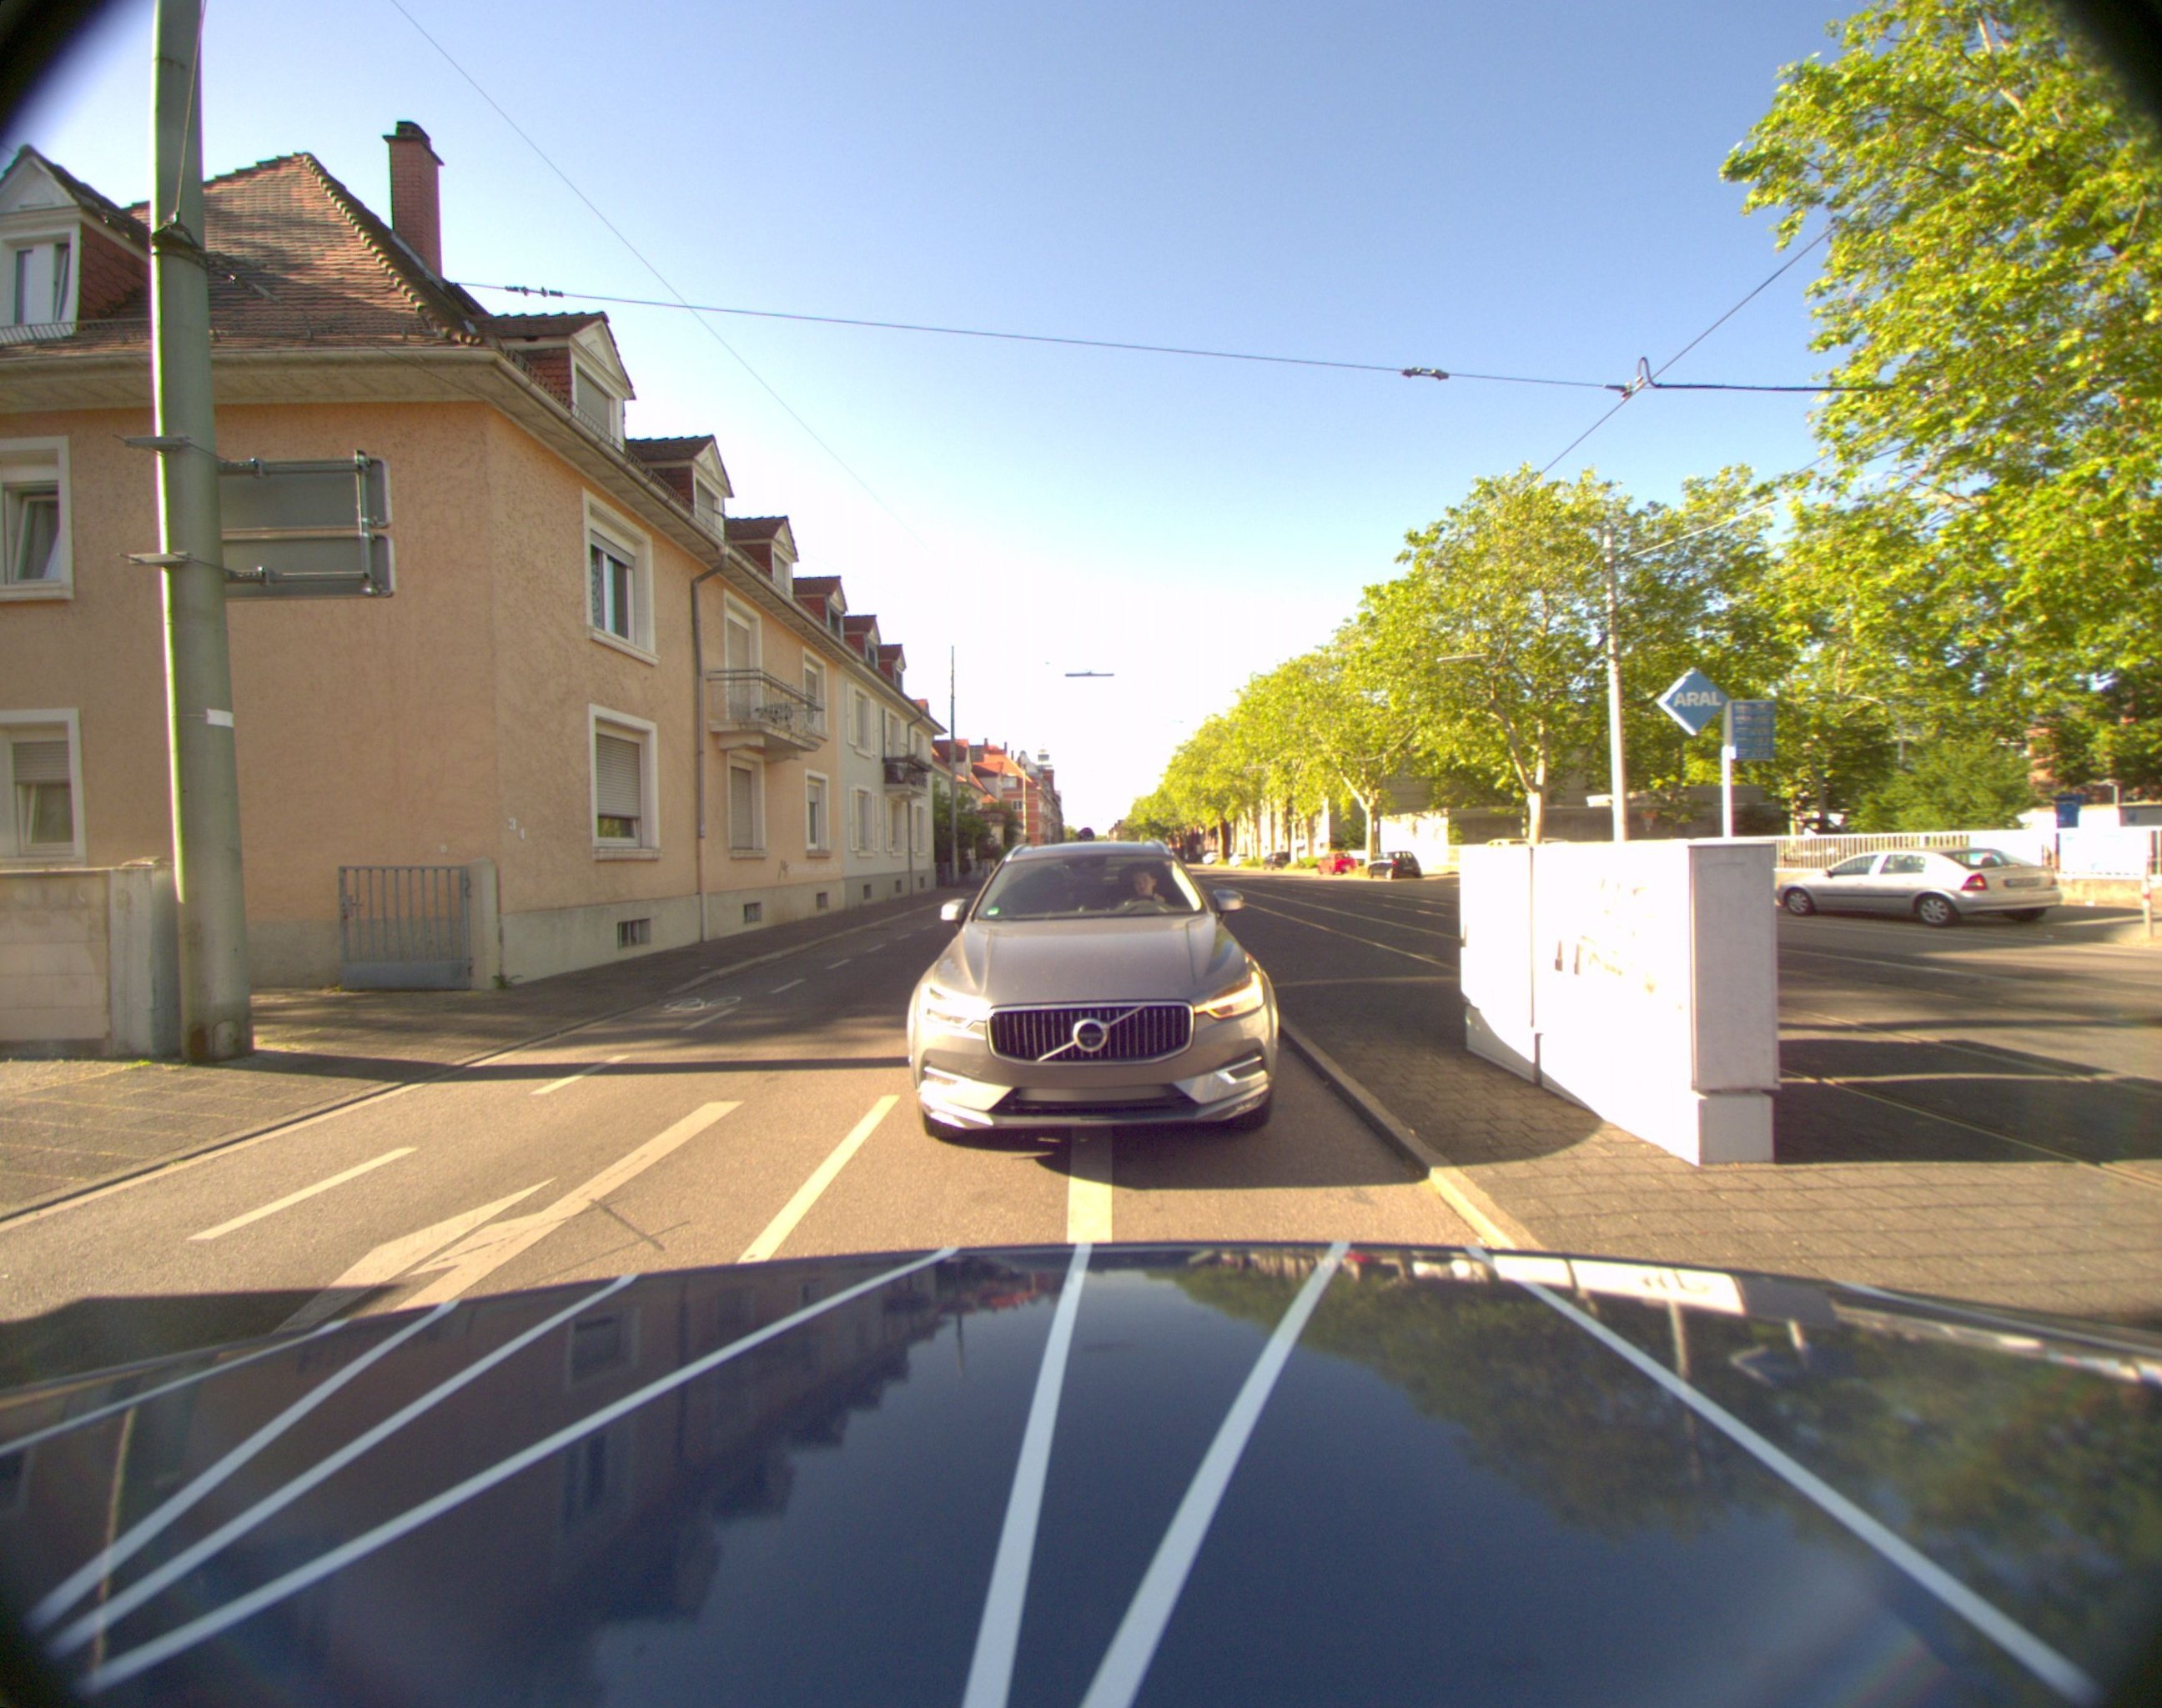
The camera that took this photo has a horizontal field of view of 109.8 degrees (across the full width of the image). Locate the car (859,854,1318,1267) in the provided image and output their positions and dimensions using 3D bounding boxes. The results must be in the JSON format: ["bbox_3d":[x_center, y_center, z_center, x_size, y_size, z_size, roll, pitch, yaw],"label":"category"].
[{"bbox_3d":[0.039,0.891,5.650,1.912,1.666,4.763,-2,1,0],"label":"car"}]

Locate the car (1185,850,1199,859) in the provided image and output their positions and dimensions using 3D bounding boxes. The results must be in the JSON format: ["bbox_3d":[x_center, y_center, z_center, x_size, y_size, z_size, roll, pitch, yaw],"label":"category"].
[{"bbox_3d":[18.330,0.037,125.557,1.700,1.401,3.999,-1,1,1],"label":"car"}]

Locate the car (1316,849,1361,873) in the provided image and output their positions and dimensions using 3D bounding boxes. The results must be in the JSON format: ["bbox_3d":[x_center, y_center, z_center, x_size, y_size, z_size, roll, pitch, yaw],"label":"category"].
[{"bbox_3d":[16.991,0.408,50.342,1.700,1.460,3.999,-1,1,1],"label":"car"}]

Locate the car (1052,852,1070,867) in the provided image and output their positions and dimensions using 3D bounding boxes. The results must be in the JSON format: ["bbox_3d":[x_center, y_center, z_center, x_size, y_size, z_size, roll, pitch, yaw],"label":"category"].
[{"bbox_3d":[-2.184,0.594,85.432,1.841,1.449,3.999,-2,1,1],"label":"car"}]

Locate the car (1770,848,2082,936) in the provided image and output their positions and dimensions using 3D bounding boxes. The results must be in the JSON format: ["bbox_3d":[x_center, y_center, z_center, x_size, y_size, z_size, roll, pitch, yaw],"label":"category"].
[{"bbox_3d":[16.249,0.638,14.977,1.731,1.412,3.999,-2,1,1],"label":"car"}]

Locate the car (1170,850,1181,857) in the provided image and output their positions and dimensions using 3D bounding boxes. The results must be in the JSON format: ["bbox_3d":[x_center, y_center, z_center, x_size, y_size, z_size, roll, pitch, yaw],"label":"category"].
[{"bbox_3d":[18.587,-0.060,149.612,1.700,1.401,3.999,-1,1,1],"label":"car"}]

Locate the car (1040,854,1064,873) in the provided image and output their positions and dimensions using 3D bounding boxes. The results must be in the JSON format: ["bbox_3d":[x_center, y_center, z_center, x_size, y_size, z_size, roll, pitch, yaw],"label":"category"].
[{"bbox_3d":[-2.532,0.812,66.995,1.841,1.449,3.999,-2,1,1],"label":"car"}]

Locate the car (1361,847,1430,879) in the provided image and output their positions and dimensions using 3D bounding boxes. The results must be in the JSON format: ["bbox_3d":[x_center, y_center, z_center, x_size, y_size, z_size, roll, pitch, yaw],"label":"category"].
[{"bbox_3d":[16.973,0.446,41.249,1.753,1.514,4.434,-5,1,-1],"label":"car"}]

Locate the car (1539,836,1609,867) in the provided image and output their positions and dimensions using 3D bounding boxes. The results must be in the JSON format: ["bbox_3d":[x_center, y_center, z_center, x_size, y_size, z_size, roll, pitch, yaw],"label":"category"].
[{"bbox_3d":[24.265,-0.140,37.535,1.545,1.412,3.151,-2,1,4],"label":"car"}]

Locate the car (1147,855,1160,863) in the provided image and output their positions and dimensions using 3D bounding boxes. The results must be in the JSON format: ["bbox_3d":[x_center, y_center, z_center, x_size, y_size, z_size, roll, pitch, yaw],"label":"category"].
[{"bbox_3d":[13.326,0.889,139.580,1.912,1.514,4.763,0,1,0],"label":"car"}]

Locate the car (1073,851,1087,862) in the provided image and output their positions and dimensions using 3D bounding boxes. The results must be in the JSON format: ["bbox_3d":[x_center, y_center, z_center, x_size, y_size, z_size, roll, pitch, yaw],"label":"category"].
[{"bbox_3d":[-0.161,0.283,106.485,1.841,1.449,3.999,-2,1,1],"label":"car"}]

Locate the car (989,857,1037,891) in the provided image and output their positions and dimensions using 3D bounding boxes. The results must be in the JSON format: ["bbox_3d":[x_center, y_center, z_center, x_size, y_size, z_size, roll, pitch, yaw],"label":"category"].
[{"bbox_3d":[-3.242,0.933,36.946,1.841,1.449,3.999,-2,1,1],"label":"car"}]

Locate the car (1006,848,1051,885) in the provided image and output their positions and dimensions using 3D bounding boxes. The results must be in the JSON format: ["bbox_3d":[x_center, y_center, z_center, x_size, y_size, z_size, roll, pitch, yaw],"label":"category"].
[{"bbox_3d":[-2.911,0.640,43.774,1.937,1.888,7.210,-2,1,1],"label":"car"}]

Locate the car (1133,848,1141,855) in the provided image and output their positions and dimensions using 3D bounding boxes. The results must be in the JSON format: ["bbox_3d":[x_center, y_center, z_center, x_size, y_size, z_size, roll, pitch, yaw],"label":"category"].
[{"bbox_3d":[14.976,-0.587,203.970,1.850,1.835,4.394,-1,1,-1],"label":"car"}]

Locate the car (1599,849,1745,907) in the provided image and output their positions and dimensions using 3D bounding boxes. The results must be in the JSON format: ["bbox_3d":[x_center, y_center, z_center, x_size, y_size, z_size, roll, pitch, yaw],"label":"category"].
[{"bbox_3d":[16.360,0.614,21.222,1.546,1.412,3.254,-2,1,1],"label":"car"}]

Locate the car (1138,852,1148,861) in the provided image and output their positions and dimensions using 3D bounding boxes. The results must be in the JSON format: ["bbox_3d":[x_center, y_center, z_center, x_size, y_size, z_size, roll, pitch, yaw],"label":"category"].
[{"bbox_3d":[13.425,0.498,164.205,1.700,1.412,3.999,13,1,1],"label":"car"}]

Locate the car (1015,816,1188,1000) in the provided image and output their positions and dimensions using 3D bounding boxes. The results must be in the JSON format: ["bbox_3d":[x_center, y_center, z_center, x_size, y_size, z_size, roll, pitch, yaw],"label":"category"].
[{"bbox_3d":[0.238,0.601,11.119,1.912,2.048,4.763,-2,1,0],"label":"car"}]

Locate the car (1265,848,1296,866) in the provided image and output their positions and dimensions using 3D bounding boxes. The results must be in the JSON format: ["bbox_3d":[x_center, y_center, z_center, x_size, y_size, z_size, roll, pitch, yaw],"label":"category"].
[{"bbox_3d":[17.284,0.236,65.910,1.700,1.401,3.999,-1,1,1],"label":"car"}]

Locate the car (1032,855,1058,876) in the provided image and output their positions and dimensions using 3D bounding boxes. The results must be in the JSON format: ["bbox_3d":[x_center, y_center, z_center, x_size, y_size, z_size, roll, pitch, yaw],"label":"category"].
[{"bbox_3d":[-2.828,0.895,60.585,1.841,1.449,3.999,-2,1,1],"label":"car"}]

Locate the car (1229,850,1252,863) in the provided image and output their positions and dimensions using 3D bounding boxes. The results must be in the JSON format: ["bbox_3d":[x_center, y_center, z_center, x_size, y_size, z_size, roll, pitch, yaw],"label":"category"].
[{"bbox_3d":[17.515,0.261,83.518,1.700,1.401,3.999,-1,1,1],"label":"car"}]

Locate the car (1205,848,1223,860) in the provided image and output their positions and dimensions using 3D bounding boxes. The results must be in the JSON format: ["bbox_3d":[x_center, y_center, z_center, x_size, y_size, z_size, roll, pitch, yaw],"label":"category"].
[{"bbox_3d":[17.662,0.020,100.780,1.700,1.548,3.999,-1,1,1],"label":"car"}]

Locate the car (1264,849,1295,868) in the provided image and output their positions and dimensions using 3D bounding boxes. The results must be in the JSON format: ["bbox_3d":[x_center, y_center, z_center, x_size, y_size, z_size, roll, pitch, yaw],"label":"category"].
[{"bbox_3d":[17.167,0.329,65.991,1.700,1.566,3.999,-1,1,1],"label":"car"}]

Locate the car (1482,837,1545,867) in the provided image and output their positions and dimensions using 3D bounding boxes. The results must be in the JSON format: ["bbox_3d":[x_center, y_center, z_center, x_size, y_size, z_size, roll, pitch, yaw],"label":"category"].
[{"bbox_3d":[21.714,-0.104,38.261,1.545,1.412,3.151,-2,1,4],"label":"car"}]
